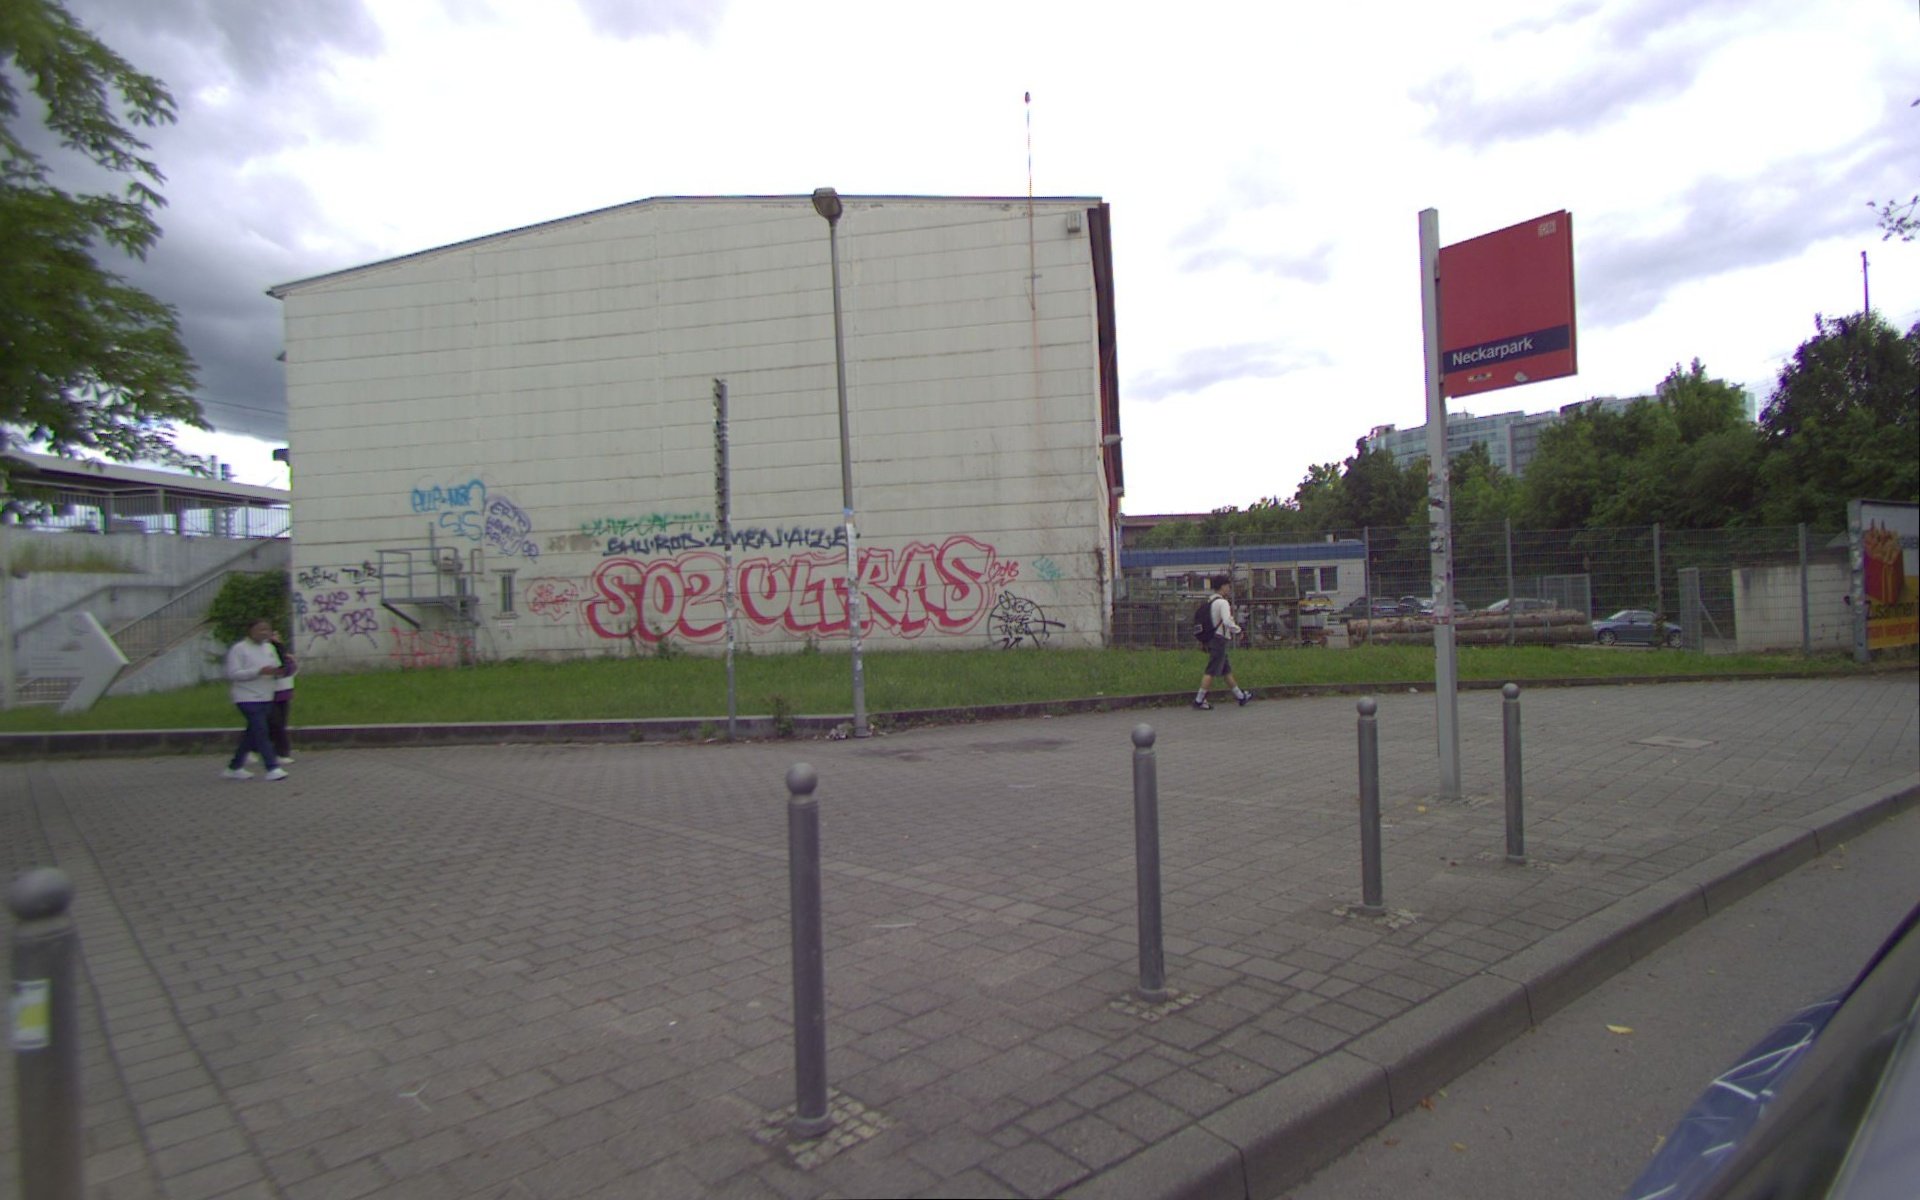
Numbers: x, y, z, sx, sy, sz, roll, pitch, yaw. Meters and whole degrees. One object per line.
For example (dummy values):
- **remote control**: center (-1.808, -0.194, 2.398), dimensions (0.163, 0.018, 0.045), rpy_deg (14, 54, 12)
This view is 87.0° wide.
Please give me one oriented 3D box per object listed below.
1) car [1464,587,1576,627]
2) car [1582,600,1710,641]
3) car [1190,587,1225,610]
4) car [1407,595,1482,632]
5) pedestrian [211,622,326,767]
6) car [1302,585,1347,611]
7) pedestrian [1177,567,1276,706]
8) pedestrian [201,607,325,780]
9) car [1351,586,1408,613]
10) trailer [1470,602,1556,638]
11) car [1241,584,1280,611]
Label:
- **car**: center (23.587, 0.270, 42.736), dimensions (3.745, 1.551, 1.563), rpy_deg (1, 1, 6)
- **car**: center (23.710, 0.690, 35.063), dimensions (3.312, 1.268, 1.469), rpy_deg (2, 1, 6)
- **car**: center (13.488, -0.096, 55.293), dimensions (1.314, 1.224, 3.307), rpy_deg (1, 0, 4)
- **car**: center (19.694, 0.535, 41.315), dimensions (1.778, 1.394, 3.786), rpy_deg (-1, 0, 11)
- **pedestrian**: center (-8.125, 1.083, 11.928), dimensions (0.786, 1.603, 0.803), rpy_deg (-2, 0, -4)
- **car**: center (19.148, -0.108, 53.271), dimensions (1.314, 1.348, 3.307), rpy_deg (1, 0, 4)
- **pedestrian**: center (3.430, 0.449, 13.090), dimensions (0.921, 1.705, 0.852), rpy_deg (-2, 1, -8)
- **pedestrian**: center (-7.386, 0.960, 10.768), dimensions (0.734, 1.724, 0.817), rpy_deg (-2, 0, -4)
- **car**: center (21.922, -0.045, 53.046), dimensions (1.501, 1.348, 3.682), rpy_deg (1, 0, 1)
- **trailer**: center (19.013, 0.672, 34.916), dimensions (1.819, 1.152, 2.631), rpy_deg (-1, 0, 10)
- **car**: center (16.068, -0.132, 54.234), dimensions (1.314, 1.348, 3.307), rpy_deg (1, 0, 4)
